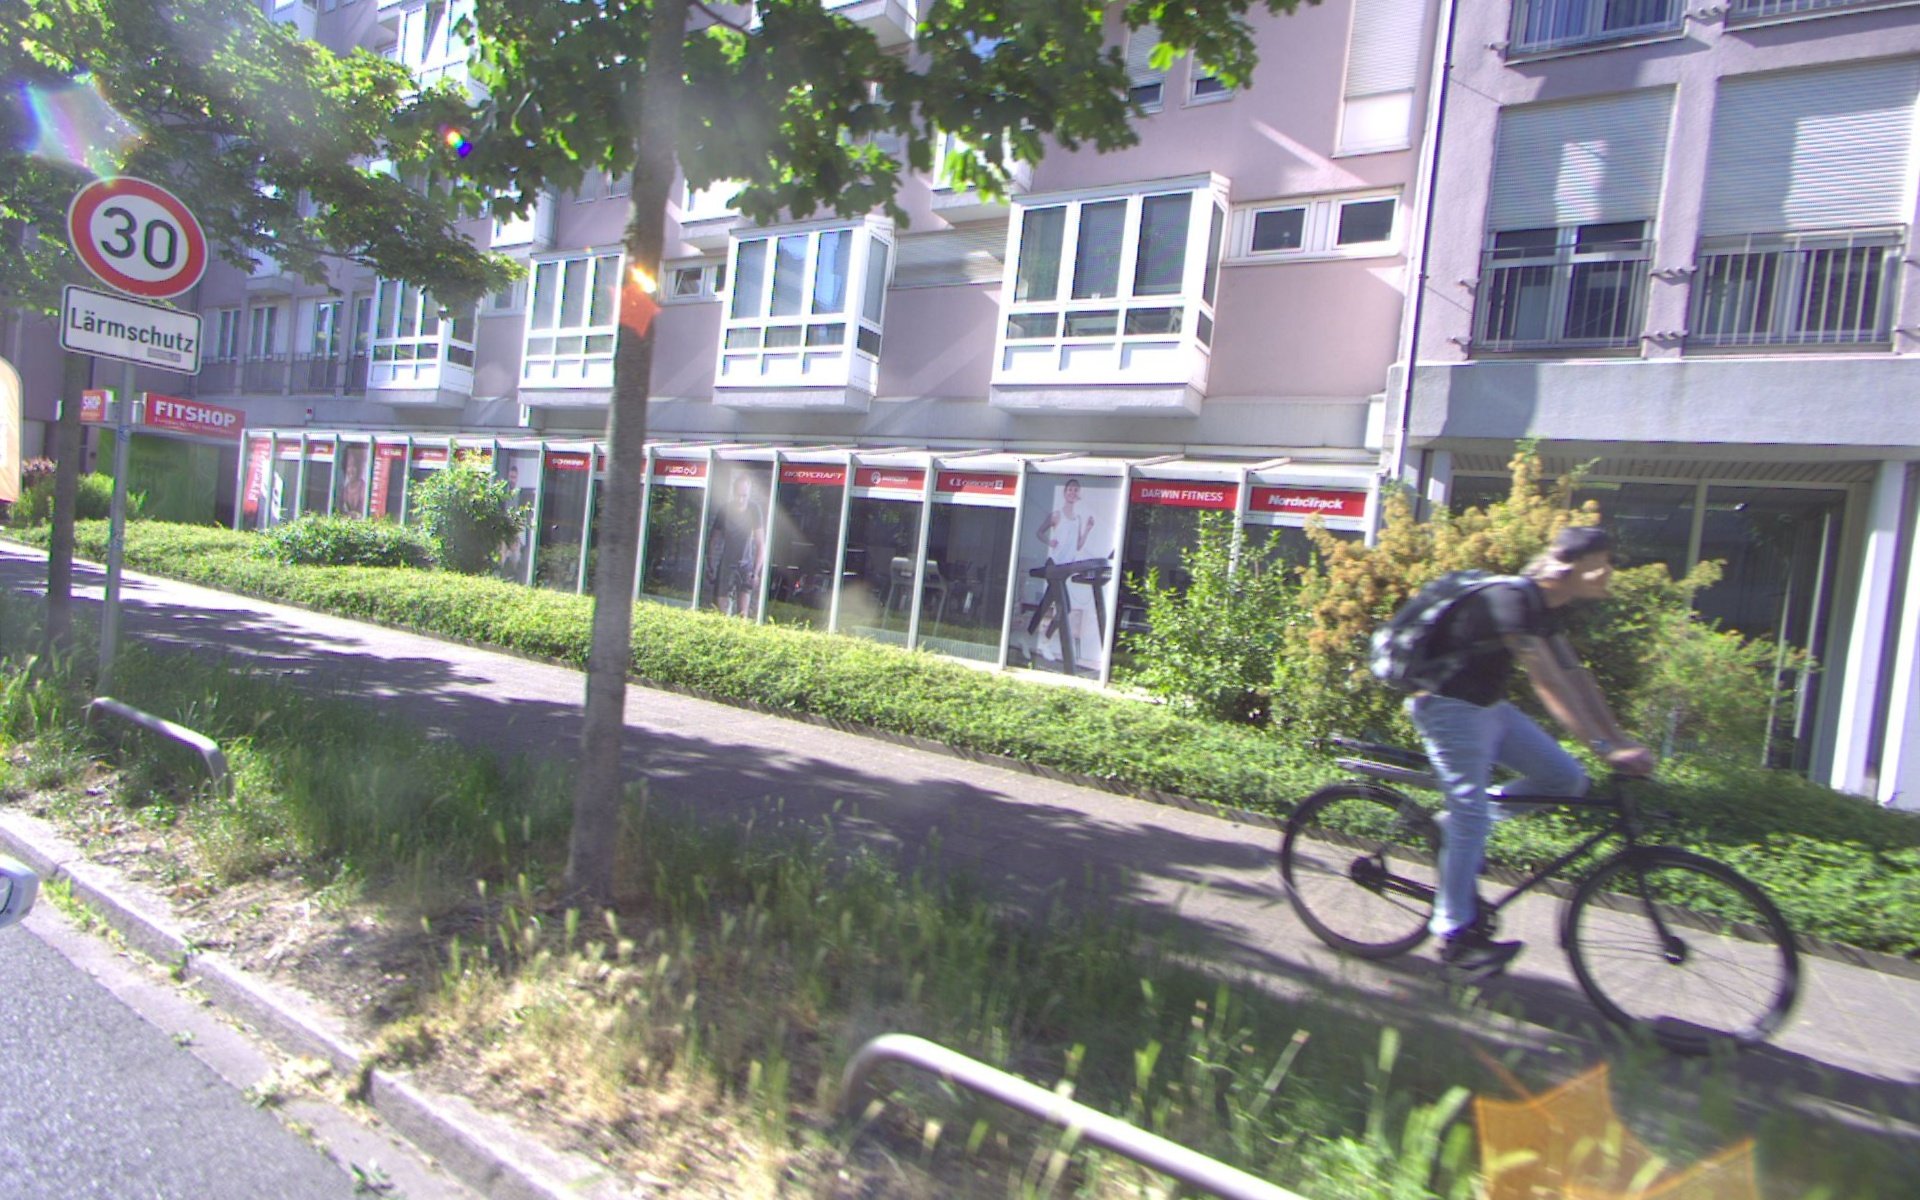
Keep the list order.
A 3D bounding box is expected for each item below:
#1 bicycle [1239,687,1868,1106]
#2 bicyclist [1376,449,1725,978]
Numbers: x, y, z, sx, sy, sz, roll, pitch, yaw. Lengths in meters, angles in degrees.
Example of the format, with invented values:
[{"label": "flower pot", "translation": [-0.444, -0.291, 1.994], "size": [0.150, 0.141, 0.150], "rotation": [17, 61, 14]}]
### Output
[{"label": "bicycle", "translation": [2.102, 0.980, 3.824], "size": [1.829, 1.041, 0.590], "rotation": [6, 1, 31]}, {"label": "bicyclist", "translation": [2.171, 0.361, 3.782], "size": [0.874, 1.716, 0.668], "rotation": [7, 1, 30]}]
